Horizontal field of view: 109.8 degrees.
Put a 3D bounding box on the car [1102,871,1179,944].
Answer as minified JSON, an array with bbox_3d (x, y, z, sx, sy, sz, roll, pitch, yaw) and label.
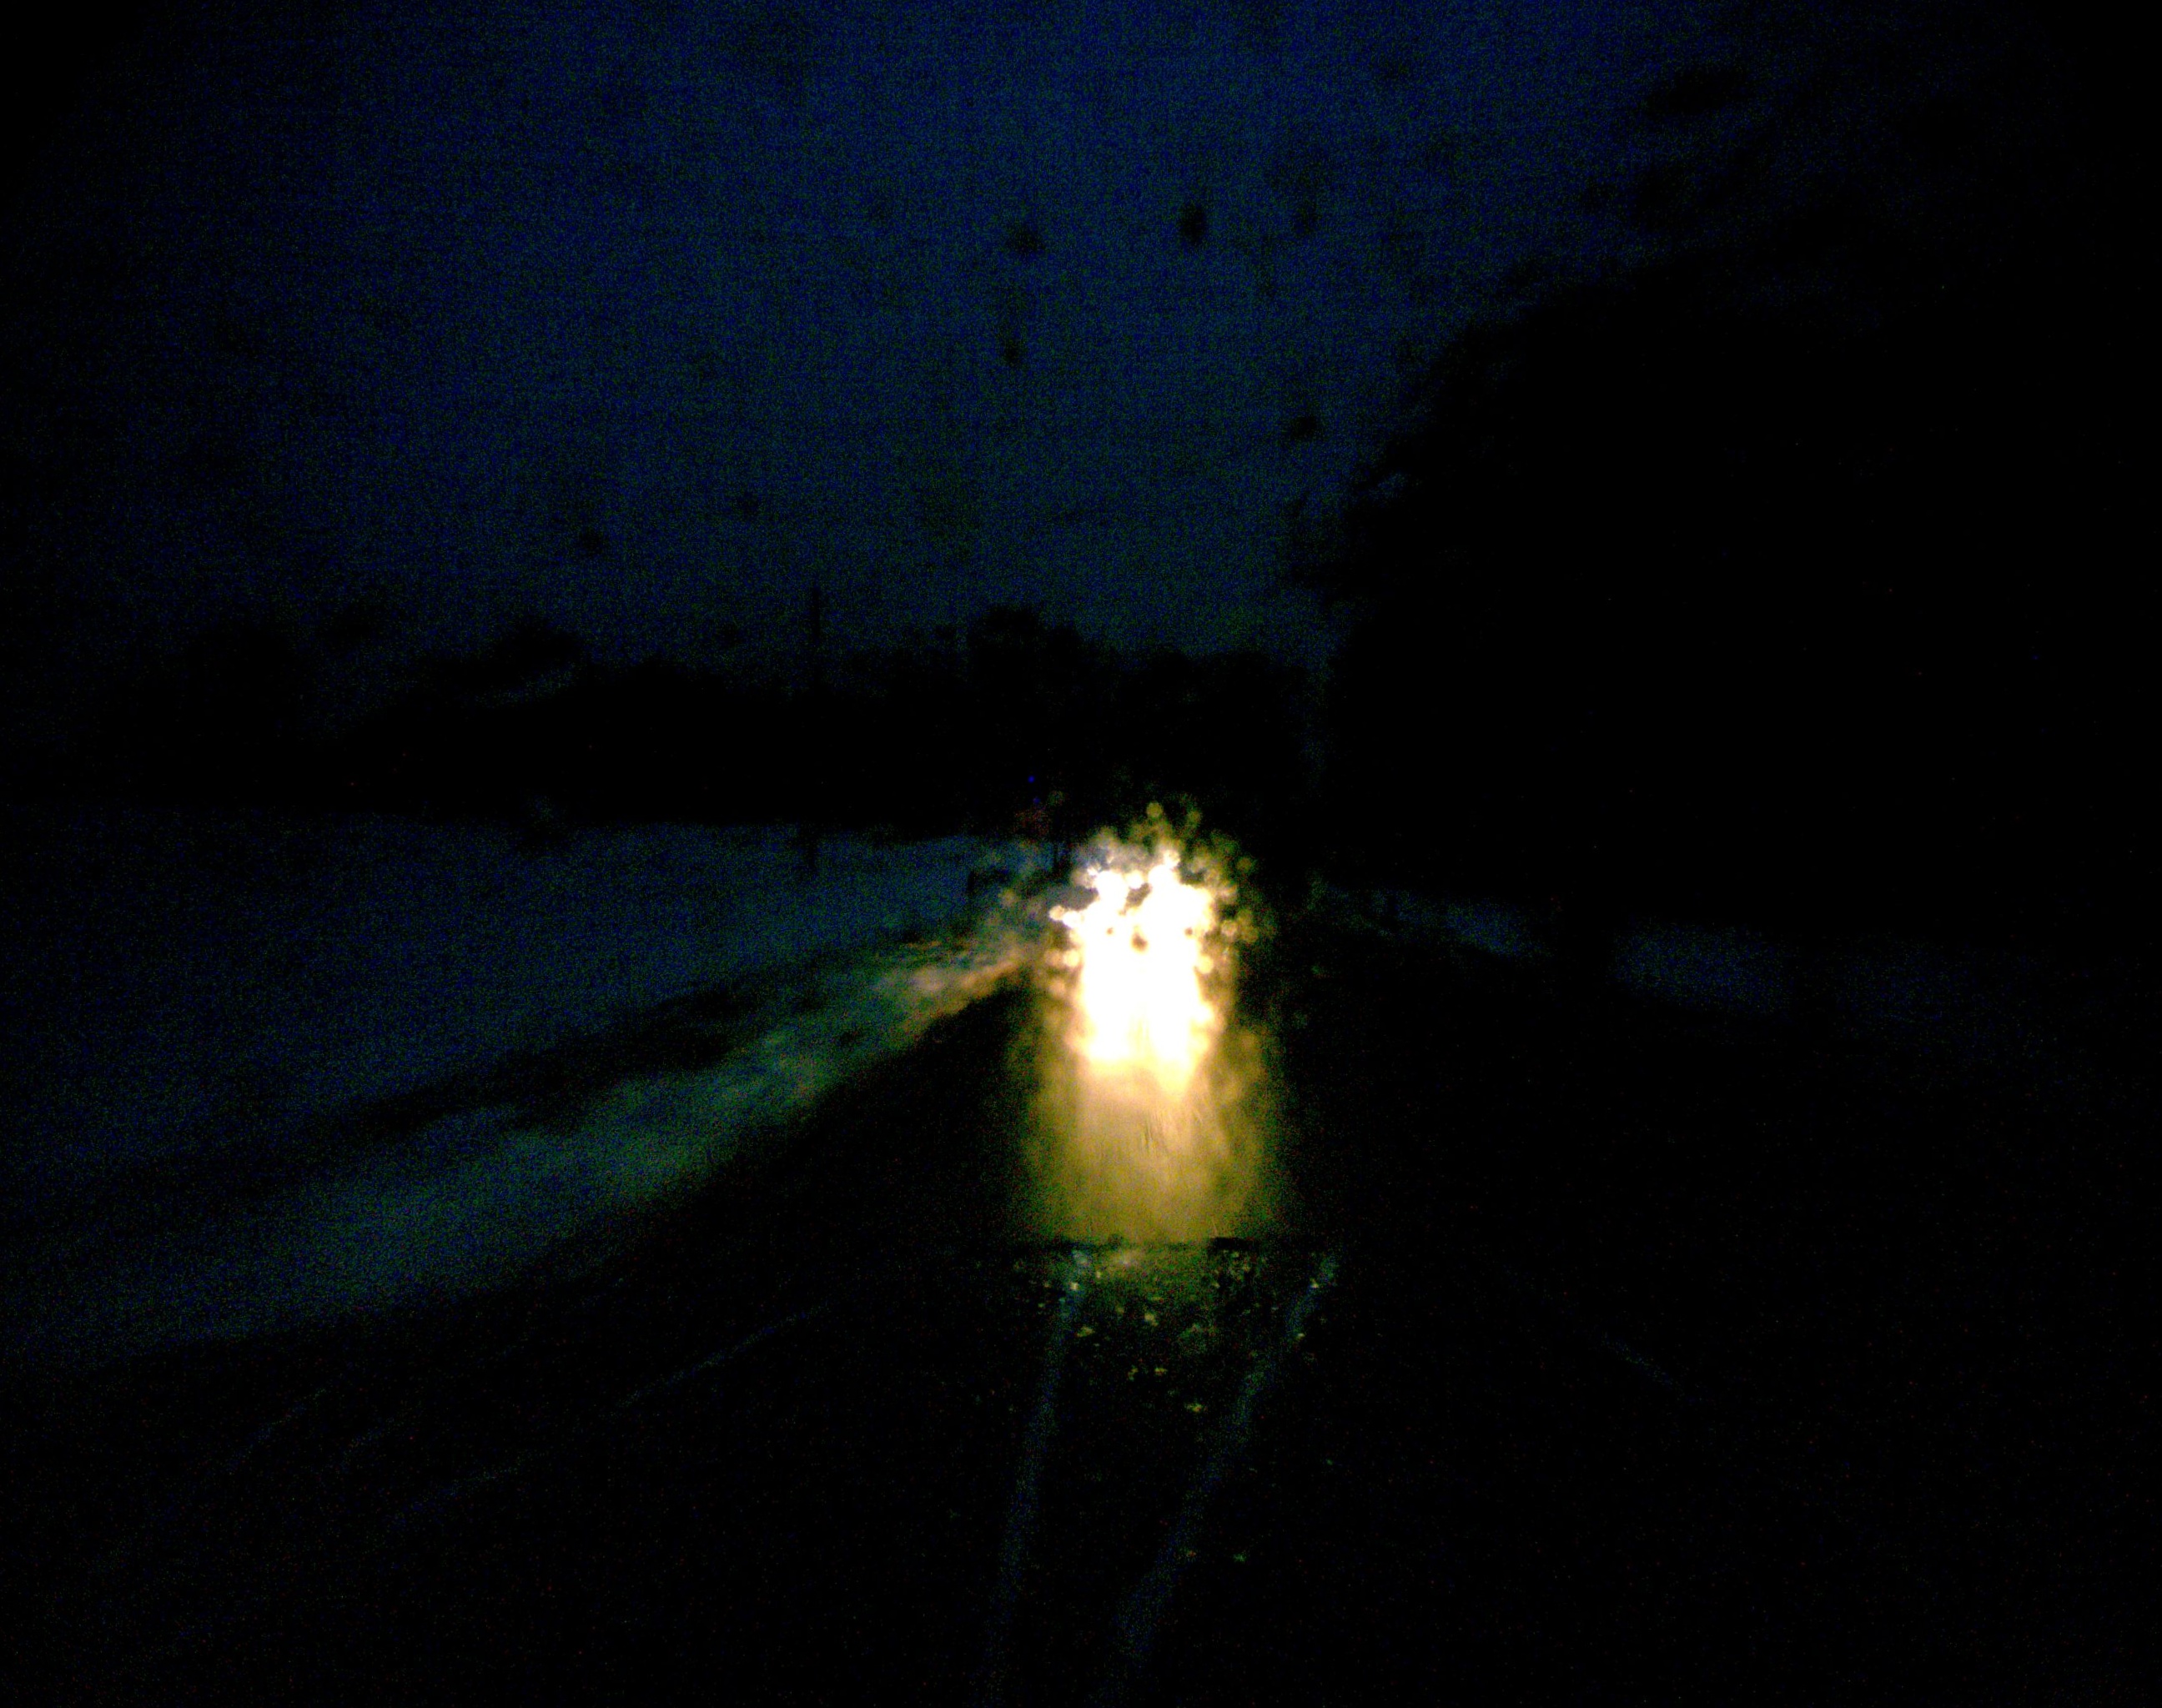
[{"bbox_3d":[1.321,1.198,18.149,1.649,1.446,3.680,0,1,1],"label":"car"}]
